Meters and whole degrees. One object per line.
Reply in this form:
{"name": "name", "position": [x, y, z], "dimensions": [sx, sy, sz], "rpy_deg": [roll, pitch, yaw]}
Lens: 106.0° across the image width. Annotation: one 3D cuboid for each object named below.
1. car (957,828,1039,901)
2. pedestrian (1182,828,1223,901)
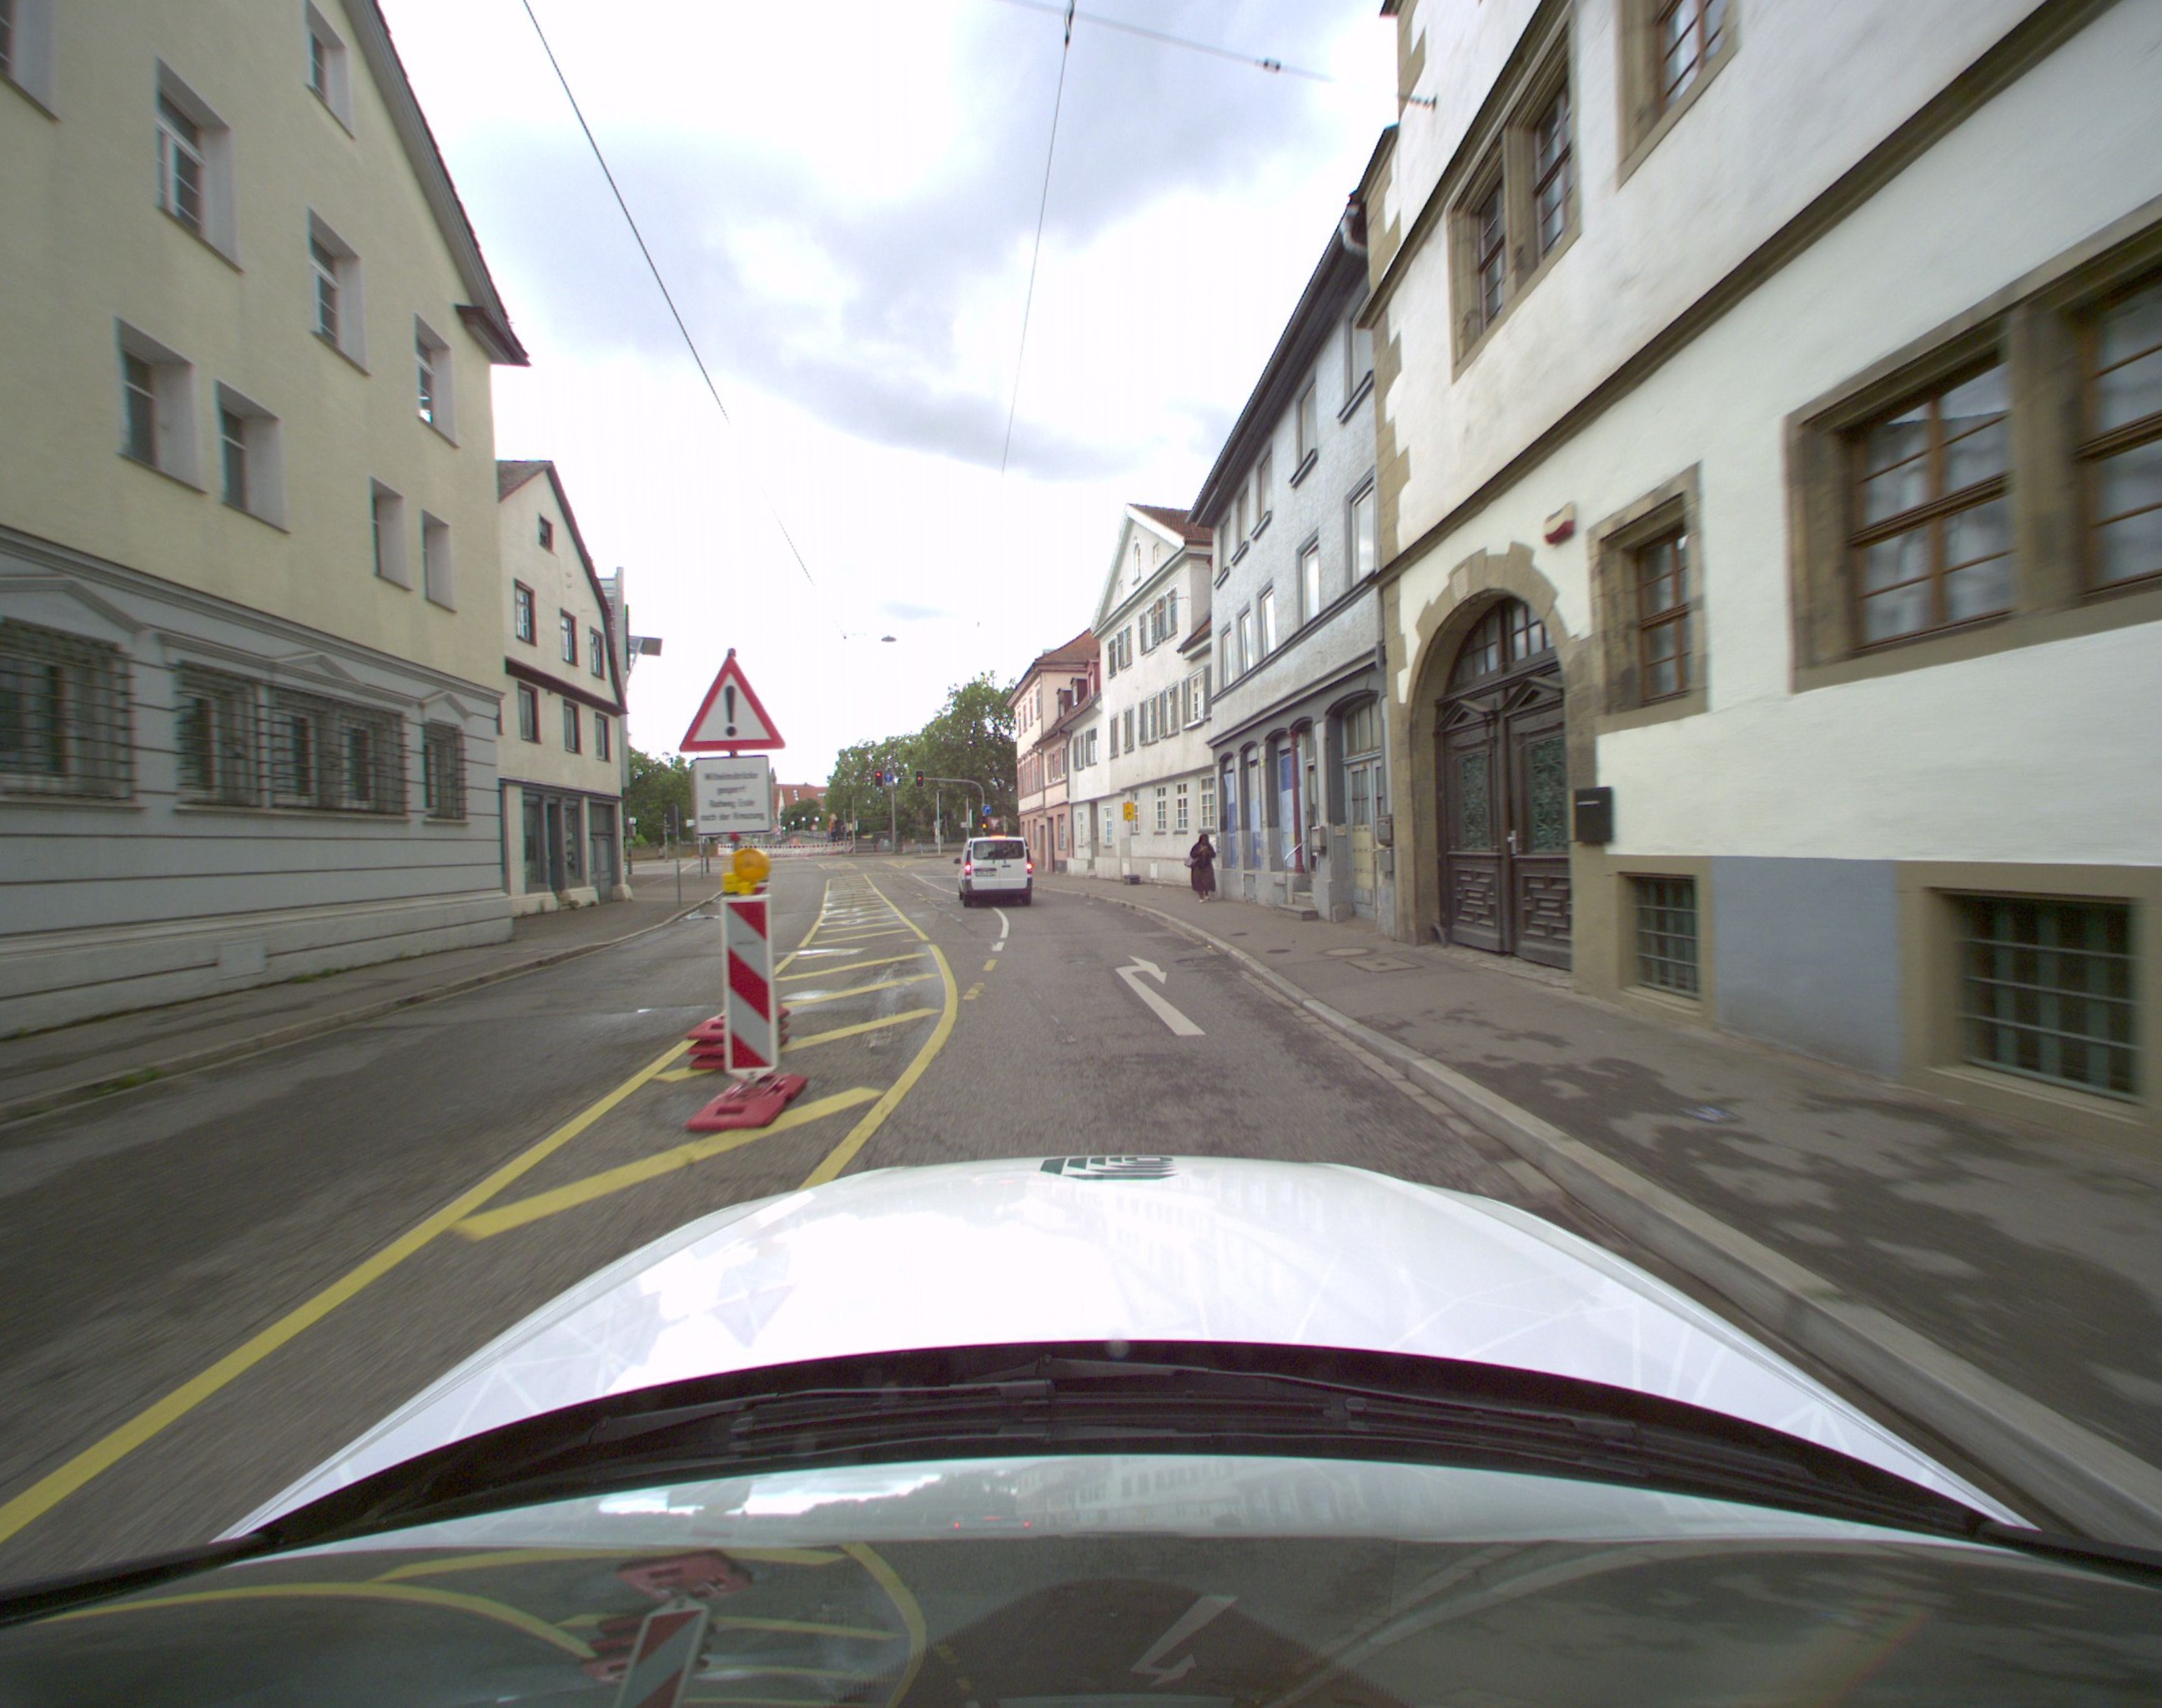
{"name": "car", "position": [-2.496, 0.268, 23.589], "dimensions": [1.994, 1.923, 4.232], "rpy_deg": [0, 0, -11]}
{"name": "pedestrian", "position": [2.918, 0.239, 19.666], "dimensions": [0.753, 1.667, 0.809], "rpy_deg": [-4, 1, -1]}
